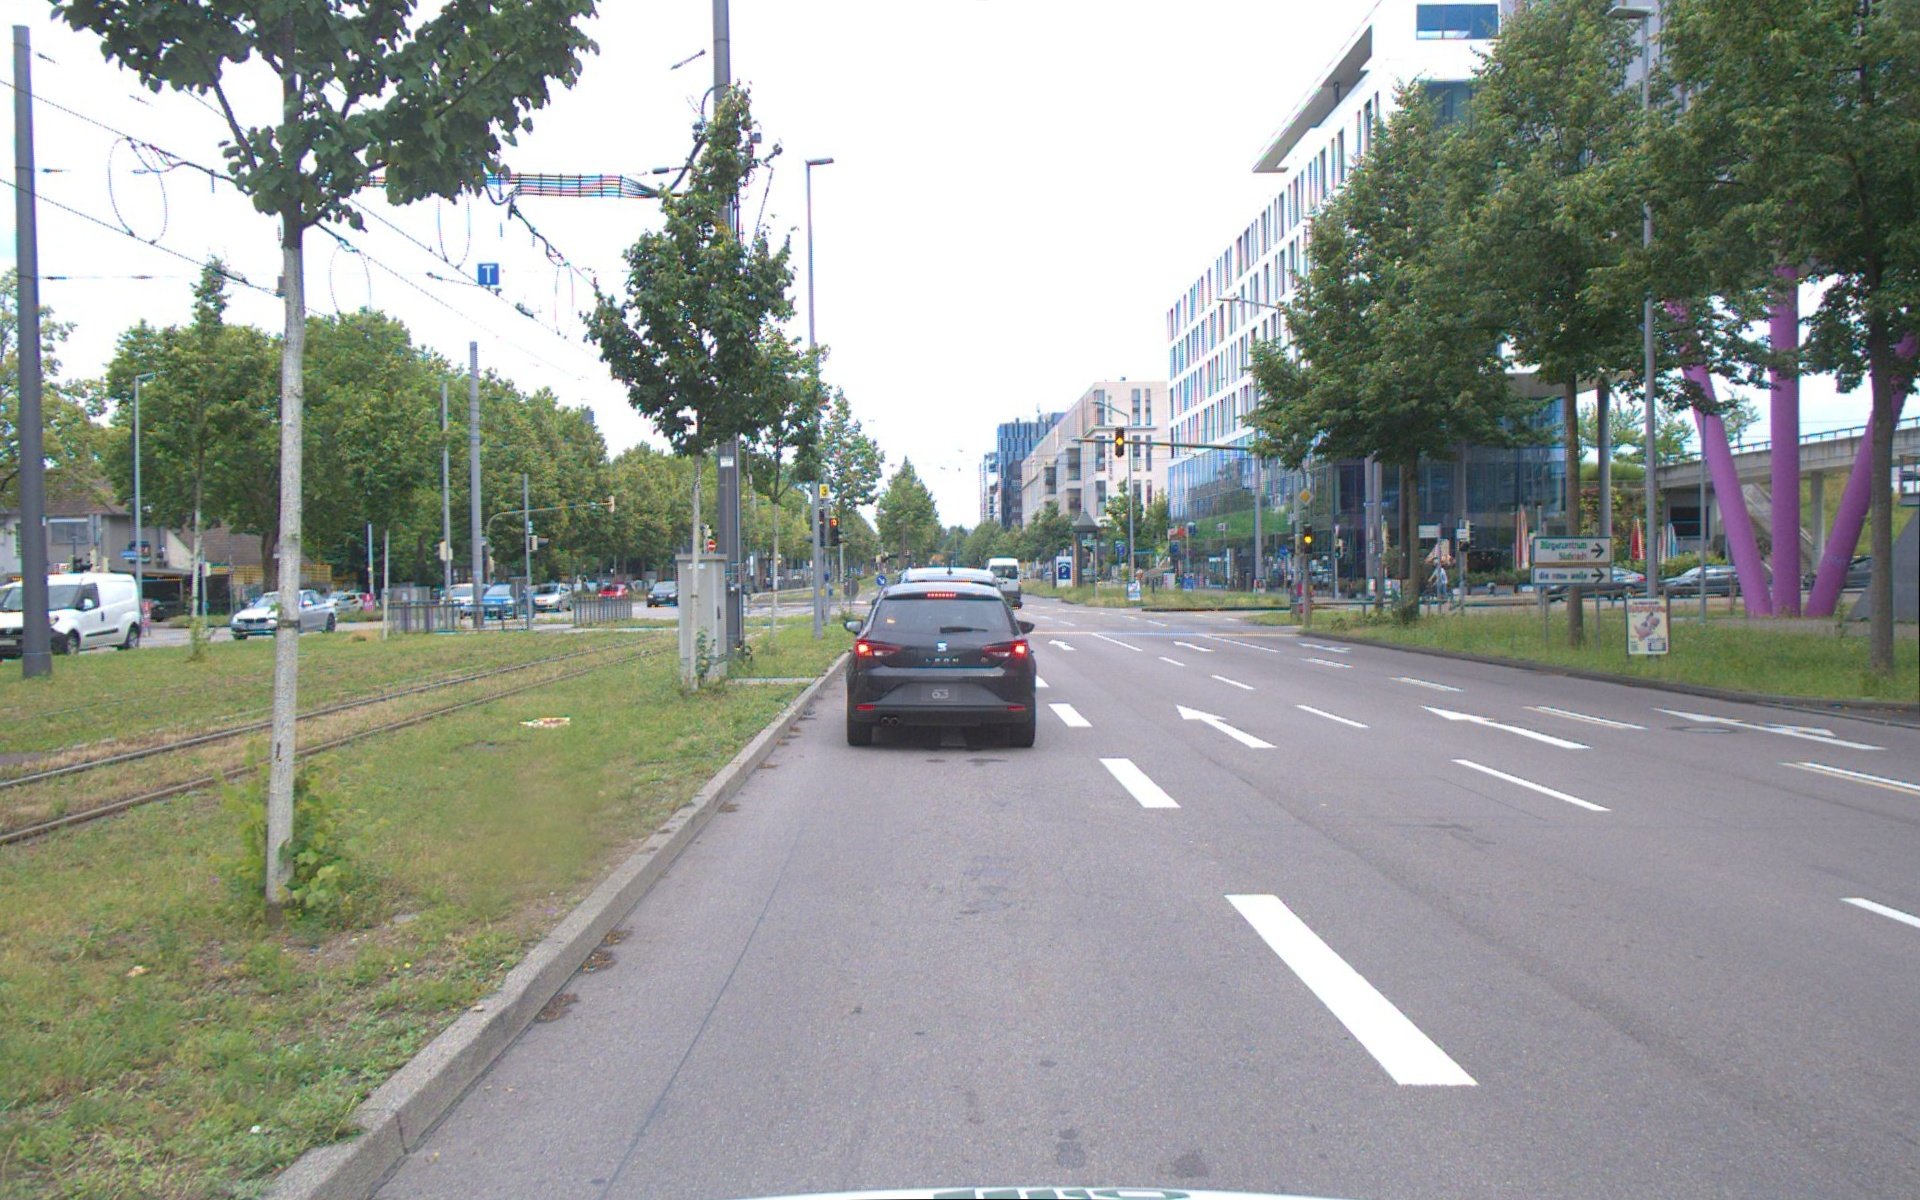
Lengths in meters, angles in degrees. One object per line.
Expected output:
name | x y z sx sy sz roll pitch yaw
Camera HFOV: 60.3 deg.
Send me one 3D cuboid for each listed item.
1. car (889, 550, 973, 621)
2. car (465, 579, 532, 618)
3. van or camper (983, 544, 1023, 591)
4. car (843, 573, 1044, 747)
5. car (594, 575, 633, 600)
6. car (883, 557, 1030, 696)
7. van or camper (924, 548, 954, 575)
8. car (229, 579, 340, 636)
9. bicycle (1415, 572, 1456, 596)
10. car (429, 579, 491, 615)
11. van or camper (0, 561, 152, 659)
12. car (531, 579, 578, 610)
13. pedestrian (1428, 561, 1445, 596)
car | -0.691 -0.399 41.701 1.952 1.711 4.001 0 1 1
car | -20.703 -0.091 74.427 1.925 1.616 4.686 0 1 -3
van or camper | 2.369 -1.861 92.420 2.066 2.396 4.924 0 3 0
car | -0.195 0.482 16.078 1.708 1.442 3.999 0 1 -2
car | -23.936 -0.879 114.338 1.759 1.598 4.328 -1 1 0
car | -0.073 0.277 22.185 1.766 1.652 4.000 -1 1 -1
van or camper | -1.388 -2.570 109.405 1.953 1.643 4.789 0 2 0
car | -20.532 0.186 50.490 1.695 1.470 4.917 -3 2 -5
bicycle | 22.200 -0.747 77.249 1.755 1.104 0.618 -1 1 1
car | -23.707 -0.169 78.558 1.760 1.598 4.576 1 0 -3
van or camper | -19.493 0.164 35.962 1.853 1.933 5.117 -2 1 -8
car | -22.978 -0.336 93.833 1.686 1.672 4.672 -1 1 -3
pedestrian | 22.259 -1.015 77.245 0.602 1.632 0.619 -1 1 1
